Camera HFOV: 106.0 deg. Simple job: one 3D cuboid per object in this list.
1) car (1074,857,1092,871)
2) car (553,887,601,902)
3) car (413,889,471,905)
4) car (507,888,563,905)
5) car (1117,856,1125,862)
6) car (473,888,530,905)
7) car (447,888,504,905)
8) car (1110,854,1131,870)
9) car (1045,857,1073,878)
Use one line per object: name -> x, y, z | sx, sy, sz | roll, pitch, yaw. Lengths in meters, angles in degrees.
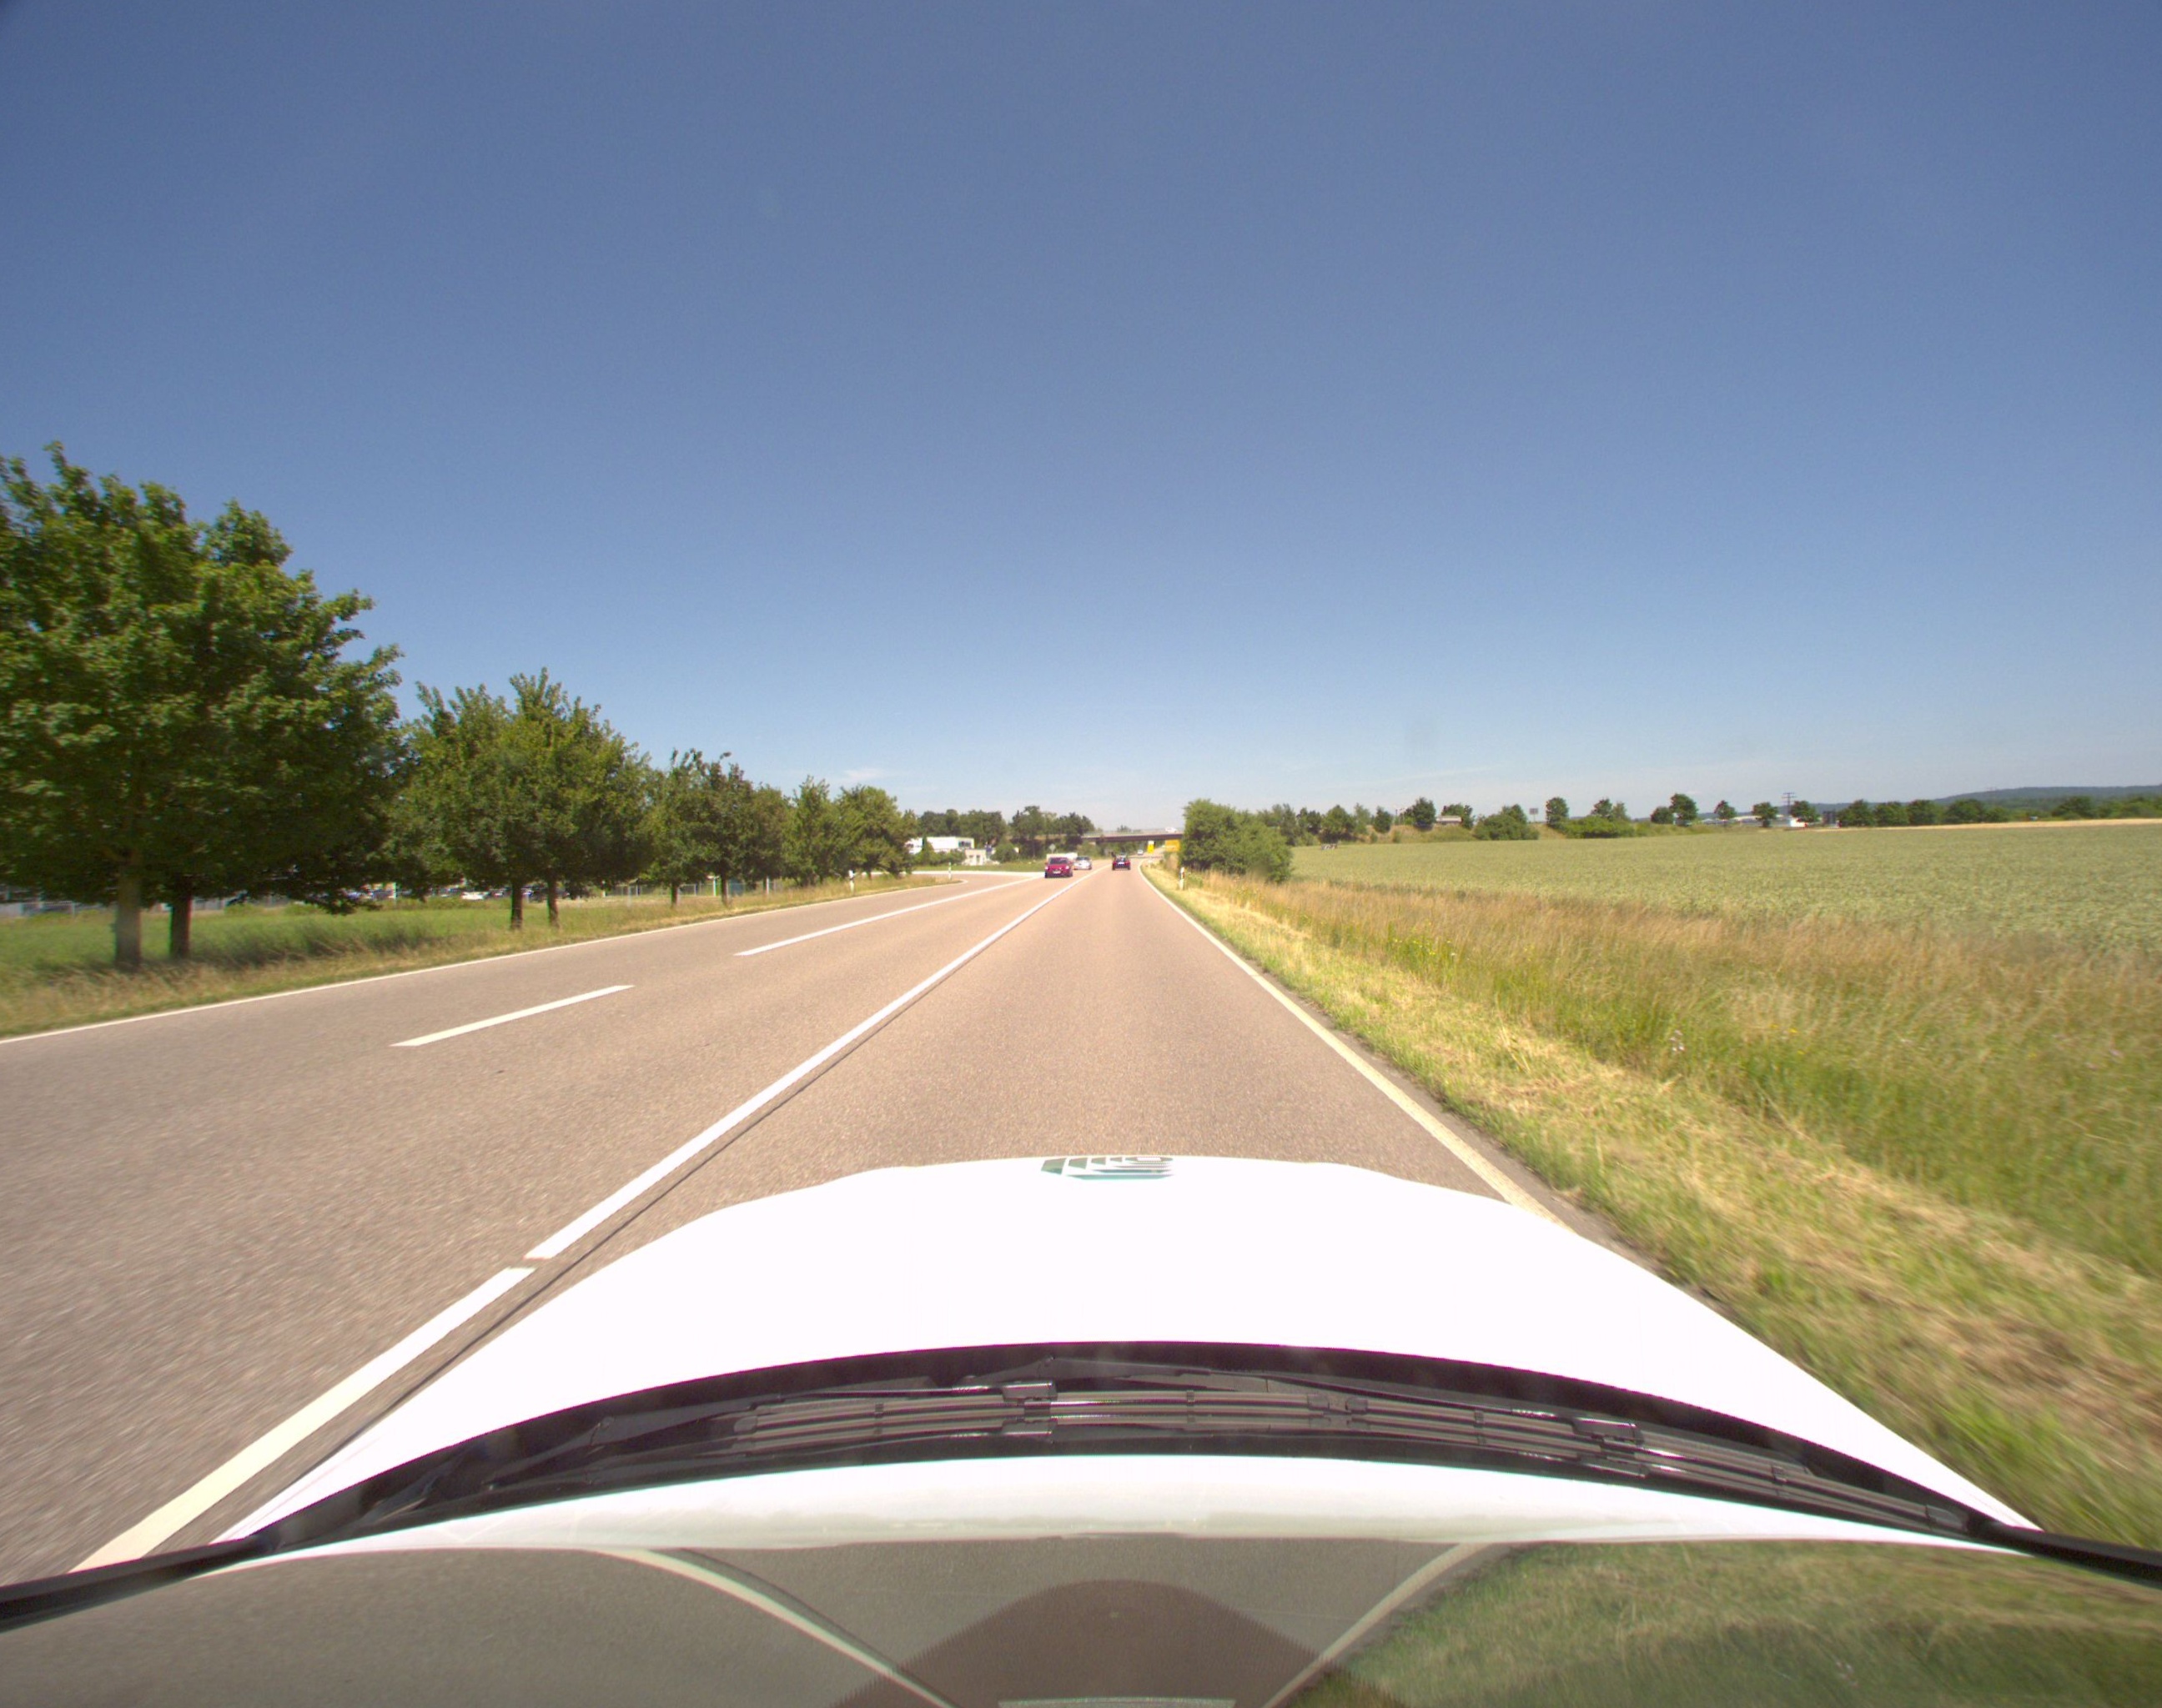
car -> 0.221, 0.991, 83.698 | 1.724, 1.391, 4.494 | -1, 0, 2
car -> -55.632, 4.493, 90.035 | 1.974, 1.394, 4.025 | -2, -1, 28
car -> -63.385, 4.231, 80.796 | 1.974, 1.394, 4.025 | -2, -1, 28
car -> -52.716, 4.109, 78.656 | 1.974, 1.394, 4.025 | -2, -1, 28
car -> 9.825, 1.231, 199.230 | 1.824, 1.567, 3.334 | 0, -1, 1
car -> -56.305, 4.158, 79.225 | 1.974, 1.394, 4.025 | -2, -1, 28
car -> -59.454, 4.191, 79.979 | 1.974, 1.394, 4.025 | -2, -1, 28
car -> 3.840, 0.785, 79.042 | 1.809, 1.441, 3.998 | -1, 0, -1
car -> -1.508, 0.936, 57.517 | 1.736, 1.411, 4.625 | 0, 0, 1
